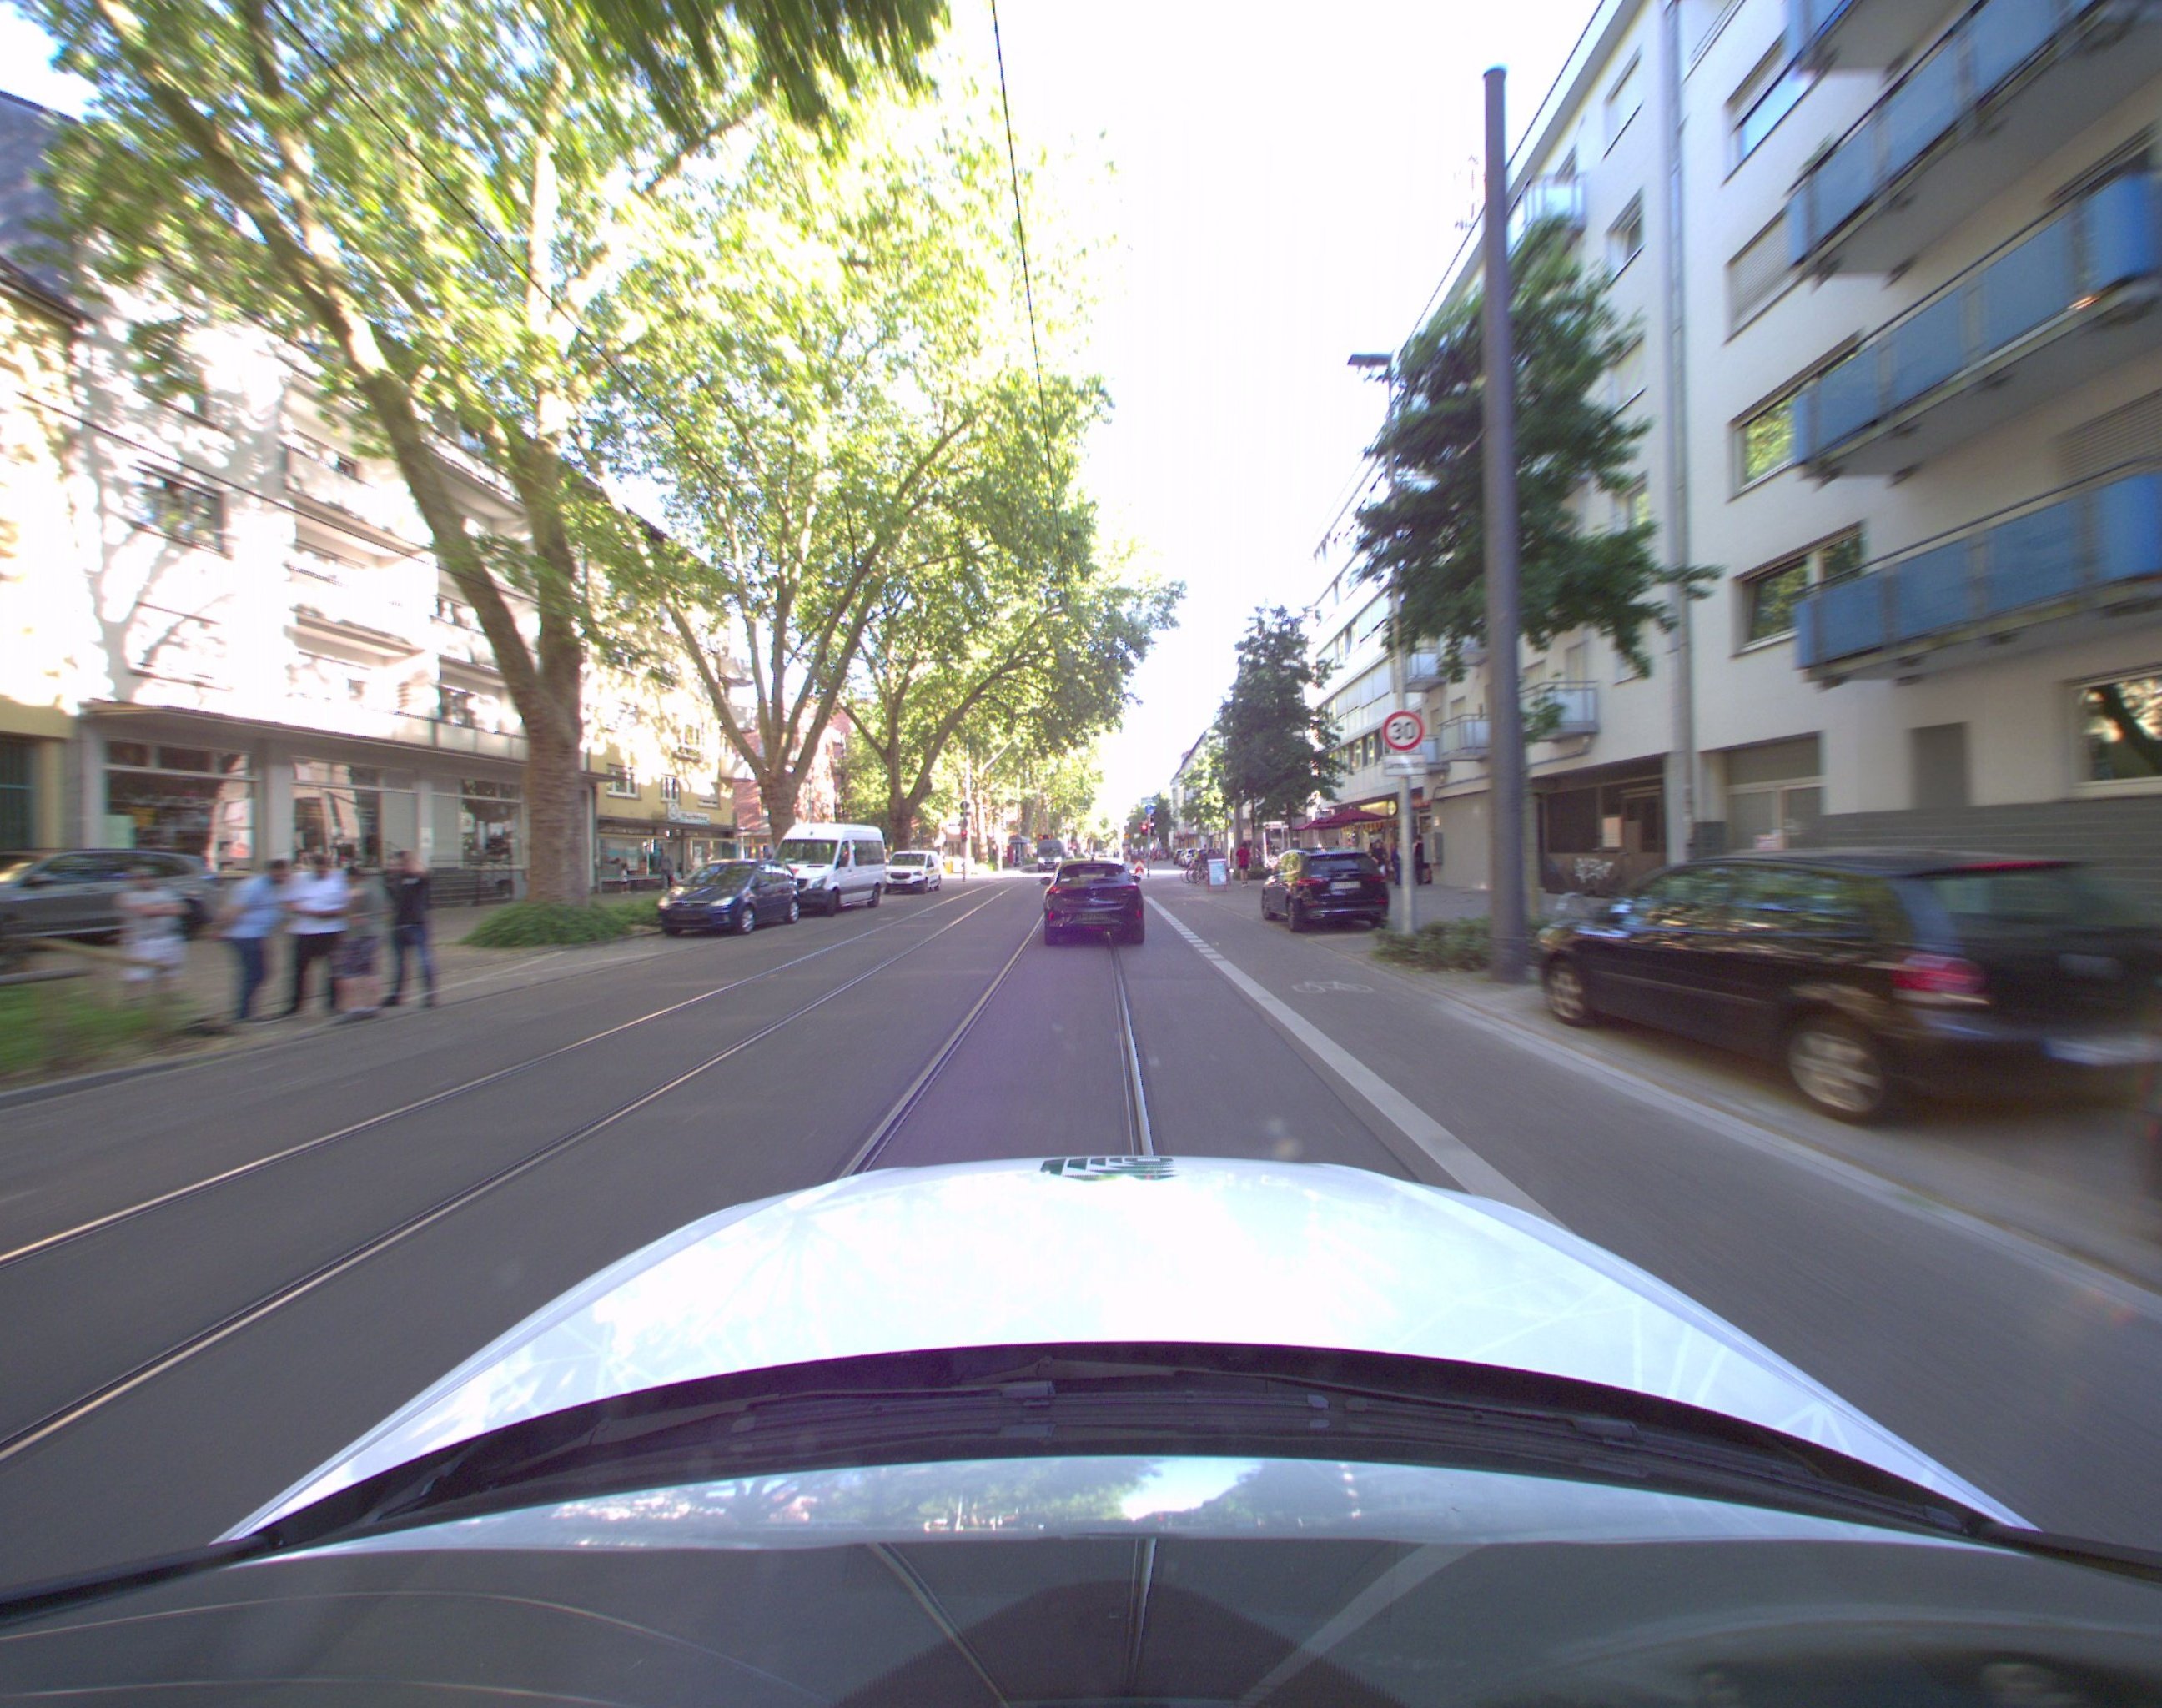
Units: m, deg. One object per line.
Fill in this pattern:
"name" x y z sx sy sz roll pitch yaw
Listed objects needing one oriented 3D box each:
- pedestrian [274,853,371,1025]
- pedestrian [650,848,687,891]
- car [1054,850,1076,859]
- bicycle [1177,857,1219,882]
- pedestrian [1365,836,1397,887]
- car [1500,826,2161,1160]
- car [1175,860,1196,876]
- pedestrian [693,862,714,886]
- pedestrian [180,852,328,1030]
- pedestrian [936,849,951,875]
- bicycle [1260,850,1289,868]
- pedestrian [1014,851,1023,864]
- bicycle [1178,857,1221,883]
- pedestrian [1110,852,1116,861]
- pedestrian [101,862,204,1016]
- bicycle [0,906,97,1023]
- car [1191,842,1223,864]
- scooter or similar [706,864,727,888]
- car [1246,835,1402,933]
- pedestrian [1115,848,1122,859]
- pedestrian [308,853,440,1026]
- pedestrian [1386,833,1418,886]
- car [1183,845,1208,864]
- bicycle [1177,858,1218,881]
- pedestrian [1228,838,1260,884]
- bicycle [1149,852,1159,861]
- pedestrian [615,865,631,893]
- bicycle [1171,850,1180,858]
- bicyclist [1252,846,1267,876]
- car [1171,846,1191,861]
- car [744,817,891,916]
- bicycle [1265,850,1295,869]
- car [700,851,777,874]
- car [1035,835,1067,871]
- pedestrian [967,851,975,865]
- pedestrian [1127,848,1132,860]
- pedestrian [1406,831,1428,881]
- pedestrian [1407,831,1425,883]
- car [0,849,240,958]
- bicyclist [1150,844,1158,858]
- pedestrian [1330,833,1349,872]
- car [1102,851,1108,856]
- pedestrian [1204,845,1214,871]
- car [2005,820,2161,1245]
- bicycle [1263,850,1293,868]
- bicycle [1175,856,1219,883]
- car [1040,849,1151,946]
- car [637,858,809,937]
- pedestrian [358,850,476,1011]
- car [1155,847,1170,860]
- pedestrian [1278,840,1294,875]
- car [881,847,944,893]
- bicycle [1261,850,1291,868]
"pedestrian" -8.166 0.866 8.773 0.761 1.735 0.718 -1 -1 43
"pedestrian" -18.203 0.667 35.963 1.103 1.864 1.058 0 -1 -1
"car" -3.305 0.077 164.757 4.377 1.851 1.996 0 0 -5
"bicycle" 5.252 0.684 36.531 1.813 1.100 0.496 0 -1 -7
"pedestrian" 9.873 0.235 26.818 0.640 1.637 0.870 -3 0 0
"car" 4.833 0.638 5.795 1.617 1.481 3.888 -4 0 0
"car" 10.114 1.337 78.949 1.737 1.440 4.250 0 0 3
"pedestrian" -18.546 0.980 40.004 0.636 1.167 0.679 -1 -1 28
"pedestrian" -8.430 0.853 8.330 0.765 1.735 0.717 0 -1 0
"pedestrian" -9.931 0.562 58.833 0.921 1.835 0.920 0 2 -2
"bicycle" 13.556 0.325 56.989 1.909 1.207 0.511 -2 0 -2
"pedestrian" -5.874 0.349 76.792 0.703 1.168 0.659 -2 -1 -1
"bicycle" 5.222 0.697 35.941 1.813 1.100 0.480 0 -1 -7
"pedestrian" 6.135 0.409 155.962 1.161 1.748 0.957 0 -1 -3
"pedestrian" -10.279 0.894 9.046 0.761 1.610 0.718 -1 -1 43
"bicycle" -11.190 1.128 8.674 1.828 1.080 0.572 -1 -1 29
"car" 10.098 -0.062 65.560 1.986 1.615 4.448 -4 -1 2
"scooter or similar" -17.738 1.067 39.680 0.636 1.167 0.679 -1 -1 28
"car" 4.741 0.543 16.576 1.753 1.587 4.328 -5 0 0
"pedestrian" 5.580 -0.097 121.902 0.742 1.709 0.768 -1 -1 37
"pedestrian" -7.424 0.863 8.585 0.767 1.735 0.712 0 -1 -5
"pedestrian" 10.539 0.168 26.780 0.594 1.678 0.934 -4 -1 0
"car" 10.124 0.063 72.255 1.792 1.606 4.418 0 0 3
"bicycle" 5.339 0.710 37.373 1.809 0.994 0.481 0 -1 -1
"pedestrian" 6.333 0.257 31.621 0.867 1.758 1.054 -1 -1 34
"bicycle" 9.310 0.350 104.084 0.859 1.136 2.392 0 0 -4
"pedestrian" -18.461 1.010 32.855 0.420 1.106 0.436 0 -1 -8
"bicycle" 12.615 -0.008 108.837 0.621 1.136 2.432 0 0 -9
"bicyclist" 10.179 0.405 46.532 0.674 1.717 0.966 -1 -1 4
"car" 10.854 -0.013 88.850 1.850 1.615 4.400 0 0 3
"car" -7.585 0.340 24.274 2.099 2.577 6.029 0 0 3
"bicycle" 13.501 0.342 55.360 1.909 1.207 0.511 -2 1 -2
"car" -23.568 0.581 56.192 4.424 1.456 1.996 2 0 -6
"car" -2.460 -0.064 68.555 2.105 2.738 6.118 -2 0 2
"pedestrian" -12.680 0.446 94.061 0.732 1.672 0.861 0 -1 2
"pedestrian" 6.152 -0.011 102.702 0.628 1.576 0.871 1 0 2
"pedestrian" 12.184 0.068 29.511 0.635 1.805 0.520 0 -1 -45
"pedestrian" 11.768 0.115 28.604 0.430 1.796 0.489 0 -1 1
"car" -18.127 0.794 14.060 1.985 1.733 4.901 0 0 3
"bicyclist" 9.310 -0.347 103.948 0.859 1.759 1.052 0 -1 -4
"pedestrian" 11.192 -0.047 35.277 0.672 1.659 0.817 -1 -1 11
"car" 7.406 -0.150 247.428 1.739 1.544 4.000 0 0 1
"pedestrian" 7.629 0.250 48.547 0.548 1.562 0.646 -1 -2 6
"car" 4.599 0.630 1.972 1.439 1.537 2.882 -3 0 2
"bicycle" 13.490 0.337 55.900 1.909 1.207 0.511 -2 1 -2
"bicycle" 5.028 0.671 35.210 1.809 1.100 0.525 -2 -1 1
"car" 0.248 0.716 15.055 1.754 1.508 3.683 -2 0 0
"car" -7.886 0.877 18.464 1.909 1.562 4.285 0 0 1
"pedestrian" -7.641 0.853 9.404 0.709 1.777 0.771 0 -1 1
"car" 12.270 -0.113 122.607 1.986 1.952 4.001 0 0 2
"pedestrian" 10.798 0.193 42.831 0.588 1.784 0.995 0 -1 1
"car" -7.179 0.655 35.113 1.757 1.850 4.318 0 0 0
"bicycle" 13.489 0.337 56.435 1.909 1.207 0.511 -2 0 -2
